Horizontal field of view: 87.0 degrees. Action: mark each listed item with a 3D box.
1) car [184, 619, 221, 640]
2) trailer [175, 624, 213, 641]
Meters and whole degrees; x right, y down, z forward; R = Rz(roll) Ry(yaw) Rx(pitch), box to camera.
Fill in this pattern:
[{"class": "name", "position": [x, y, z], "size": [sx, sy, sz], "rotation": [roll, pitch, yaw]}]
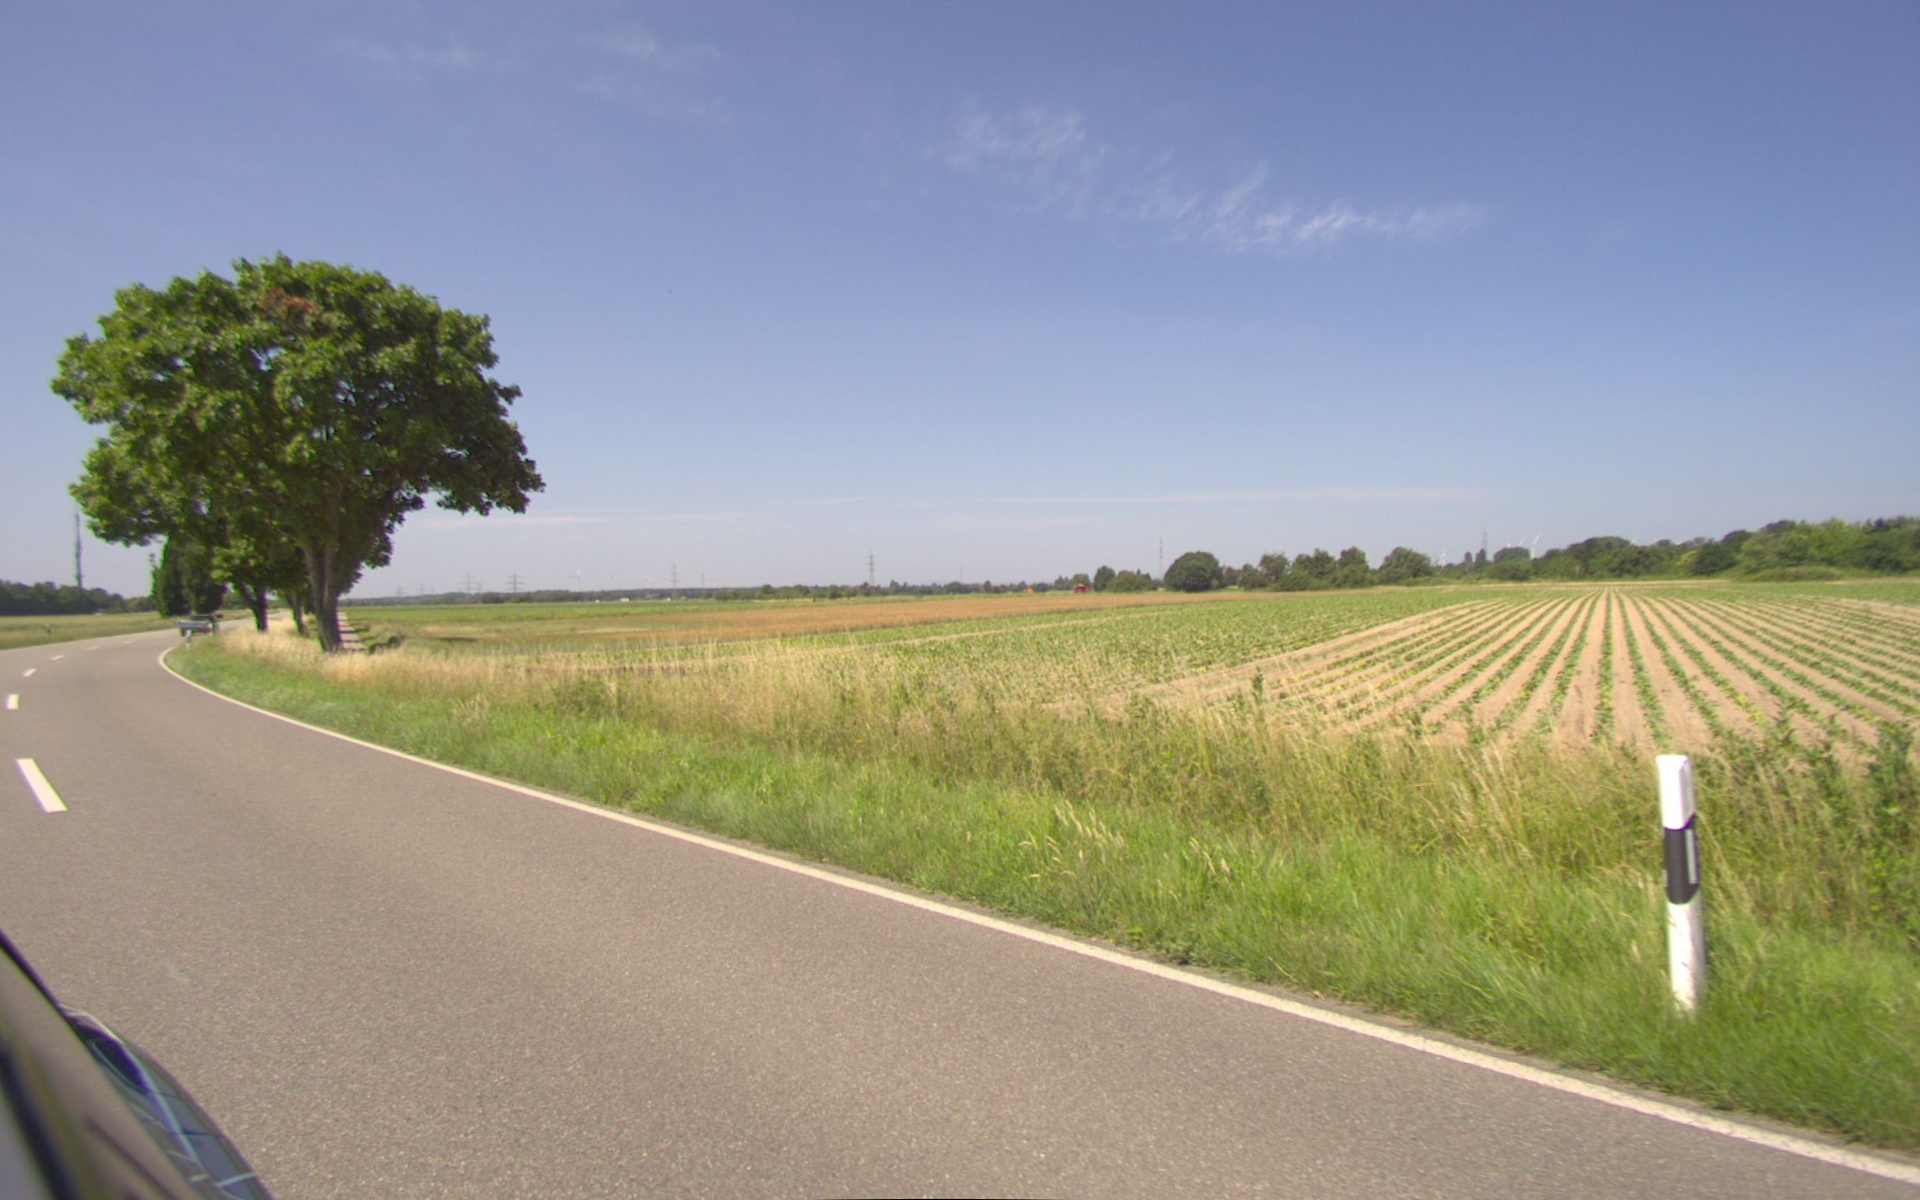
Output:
[{"class": "car", "position": [-53.387, 2.059, 71.338], "size": [1.621, 1.440, 4.192], "rotation": [2, -2, -31]}, {"class": "trailer", "position": [-51.229, 2.138, 67.745], "size": [1.600, 1.073, 4.131], "rotation": [2, -2, -31]}]
